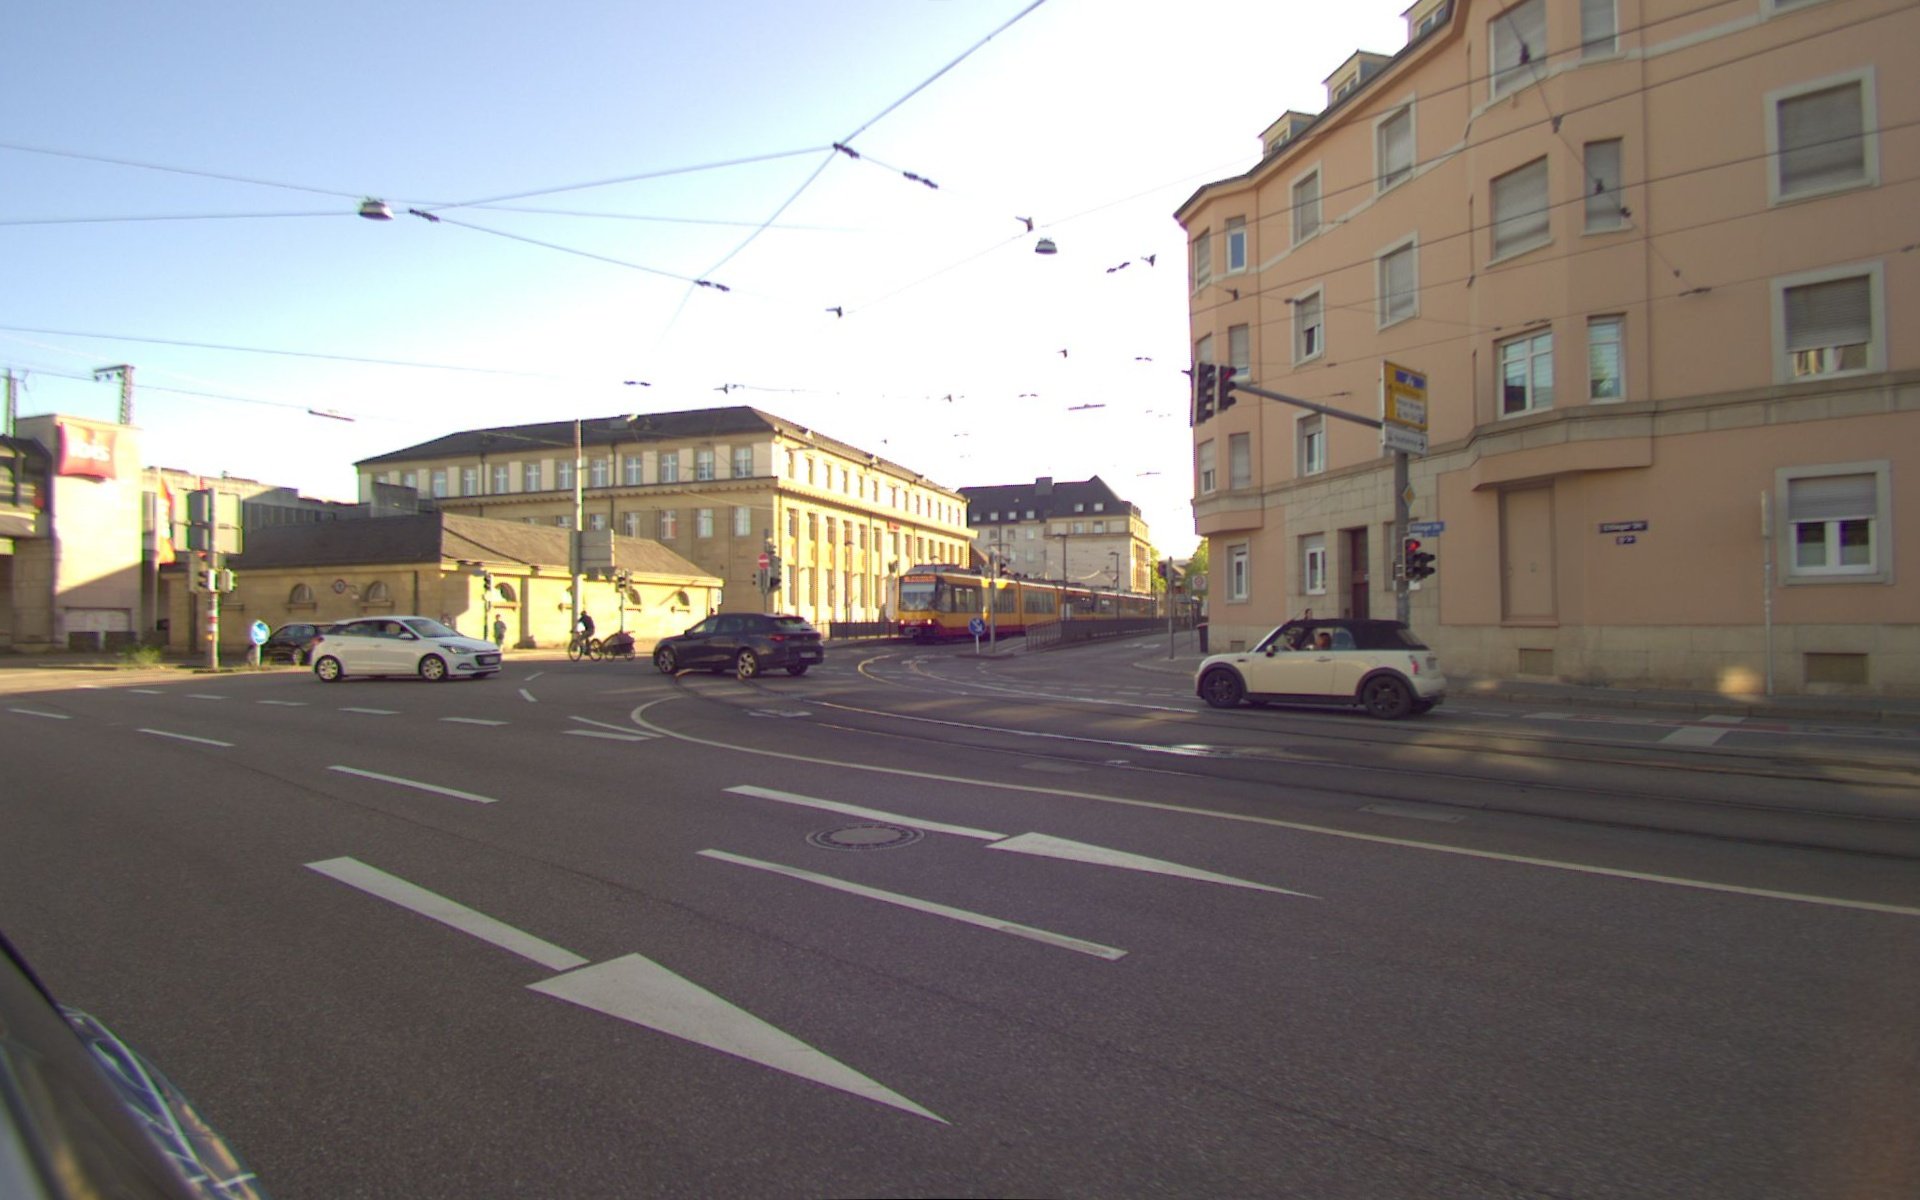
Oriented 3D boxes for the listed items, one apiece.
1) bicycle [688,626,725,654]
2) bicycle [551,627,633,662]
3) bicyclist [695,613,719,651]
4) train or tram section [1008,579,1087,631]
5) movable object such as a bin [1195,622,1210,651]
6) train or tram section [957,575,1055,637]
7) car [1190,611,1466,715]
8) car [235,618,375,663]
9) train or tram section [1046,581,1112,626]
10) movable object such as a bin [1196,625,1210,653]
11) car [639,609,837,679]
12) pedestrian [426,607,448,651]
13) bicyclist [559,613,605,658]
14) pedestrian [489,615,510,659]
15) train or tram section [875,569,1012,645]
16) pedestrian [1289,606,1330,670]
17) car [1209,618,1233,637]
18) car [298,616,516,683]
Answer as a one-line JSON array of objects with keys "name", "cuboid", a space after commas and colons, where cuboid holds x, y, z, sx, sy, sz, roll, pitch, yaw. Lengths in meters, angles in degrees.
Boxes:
[{"name": "bicycle", "cuboid": [-11.133, 1.753, 44.516, 0.679, 1.145, 2.065, -1, 0, 13]}, {"name": "bicycle", "cuboid": [-11.645, 1.395, 31.943, 3.352, 1.064, 0.924, -2, -2, 41]}, {"name": "bicyclist", "cuboid": [-11.137, 1.409, 44.546, 0.671, 1.652, 0.935, -1, 0, 14]}, {"name": "train or tram section", "cuboid": [6.383, 0.318, 71.763, 3.140, 3.382, 10.783, -1, 0, 19]}, {"name": "movable object such as a bin", "cuboid": [9.329, 1.397, 38.917, 0.479, 1.073, 0.448, -1, -1, 19]}, {"name": "train or tram section", "cuboid": [3.030, 0.341, 61.670, 3.140, 3.382, 10.615, -1, 0, 19]}, {"name": "car", "cuboid": [5.466, 0.890, 15.217, 3.531, 1.385, 1.709, -2, -2, 39]}, {"name": "car", "cuboid": [-21.919, 1.348, 33.866, 4.539, 1.403, 1.981, -1, -1, 28]}, {"name": "train or tram section", "cuboid": [9.822, 0.294, 82.028, 3.140, 3.382, 10.783, -1, 0, 19]}, {"name": "movable object such as a bin", "cuboid": [9.096, 1.447, 37.879, 0.479, 1.040, 0.448, -1, -1, 19]}, {"name": "car", "cuboid": [-5.162, 0.991, 23.337, 4.486, 1.466, 1.906, -2, -1, 34]}, {"name": "pedestrian", "cuboid": [-19.941, 1.119, 38.621, 0.615, 1.652, 0.515, 0, -1, -8]}, {"name": "bicyclist", "cuboid": [-12.071, 1.120, 32.315, 1.147, 1.393, 0.924, -2, -2, 40]}, {"name": "pedestrian", "cuboid": [-17.461, 1.400, 38.379, 0.615, 1.652, 0.490, 0, -1, -7]}, {"name": "train or tram section", "cuboid": [-0.495, 0.419, 51.080, 3.142, 3.346, 11.744, -1, -1, 19]}, {"name": "pedestrian", "cuboid": [8.900, 0.960, 25.793, 0.666, 1.575, 0.722, 0, -1, -15]}, {"name": "car", "cuboid": [25.694, 2.683, 99.644, 1.896, 1.752, 4.271, -1, -1, 19]}, {"name": "car", "cuboid": [-12.339, 1.087, 22.677, 4.058, 1.404, 1.788, -1, -1, 9]}]
